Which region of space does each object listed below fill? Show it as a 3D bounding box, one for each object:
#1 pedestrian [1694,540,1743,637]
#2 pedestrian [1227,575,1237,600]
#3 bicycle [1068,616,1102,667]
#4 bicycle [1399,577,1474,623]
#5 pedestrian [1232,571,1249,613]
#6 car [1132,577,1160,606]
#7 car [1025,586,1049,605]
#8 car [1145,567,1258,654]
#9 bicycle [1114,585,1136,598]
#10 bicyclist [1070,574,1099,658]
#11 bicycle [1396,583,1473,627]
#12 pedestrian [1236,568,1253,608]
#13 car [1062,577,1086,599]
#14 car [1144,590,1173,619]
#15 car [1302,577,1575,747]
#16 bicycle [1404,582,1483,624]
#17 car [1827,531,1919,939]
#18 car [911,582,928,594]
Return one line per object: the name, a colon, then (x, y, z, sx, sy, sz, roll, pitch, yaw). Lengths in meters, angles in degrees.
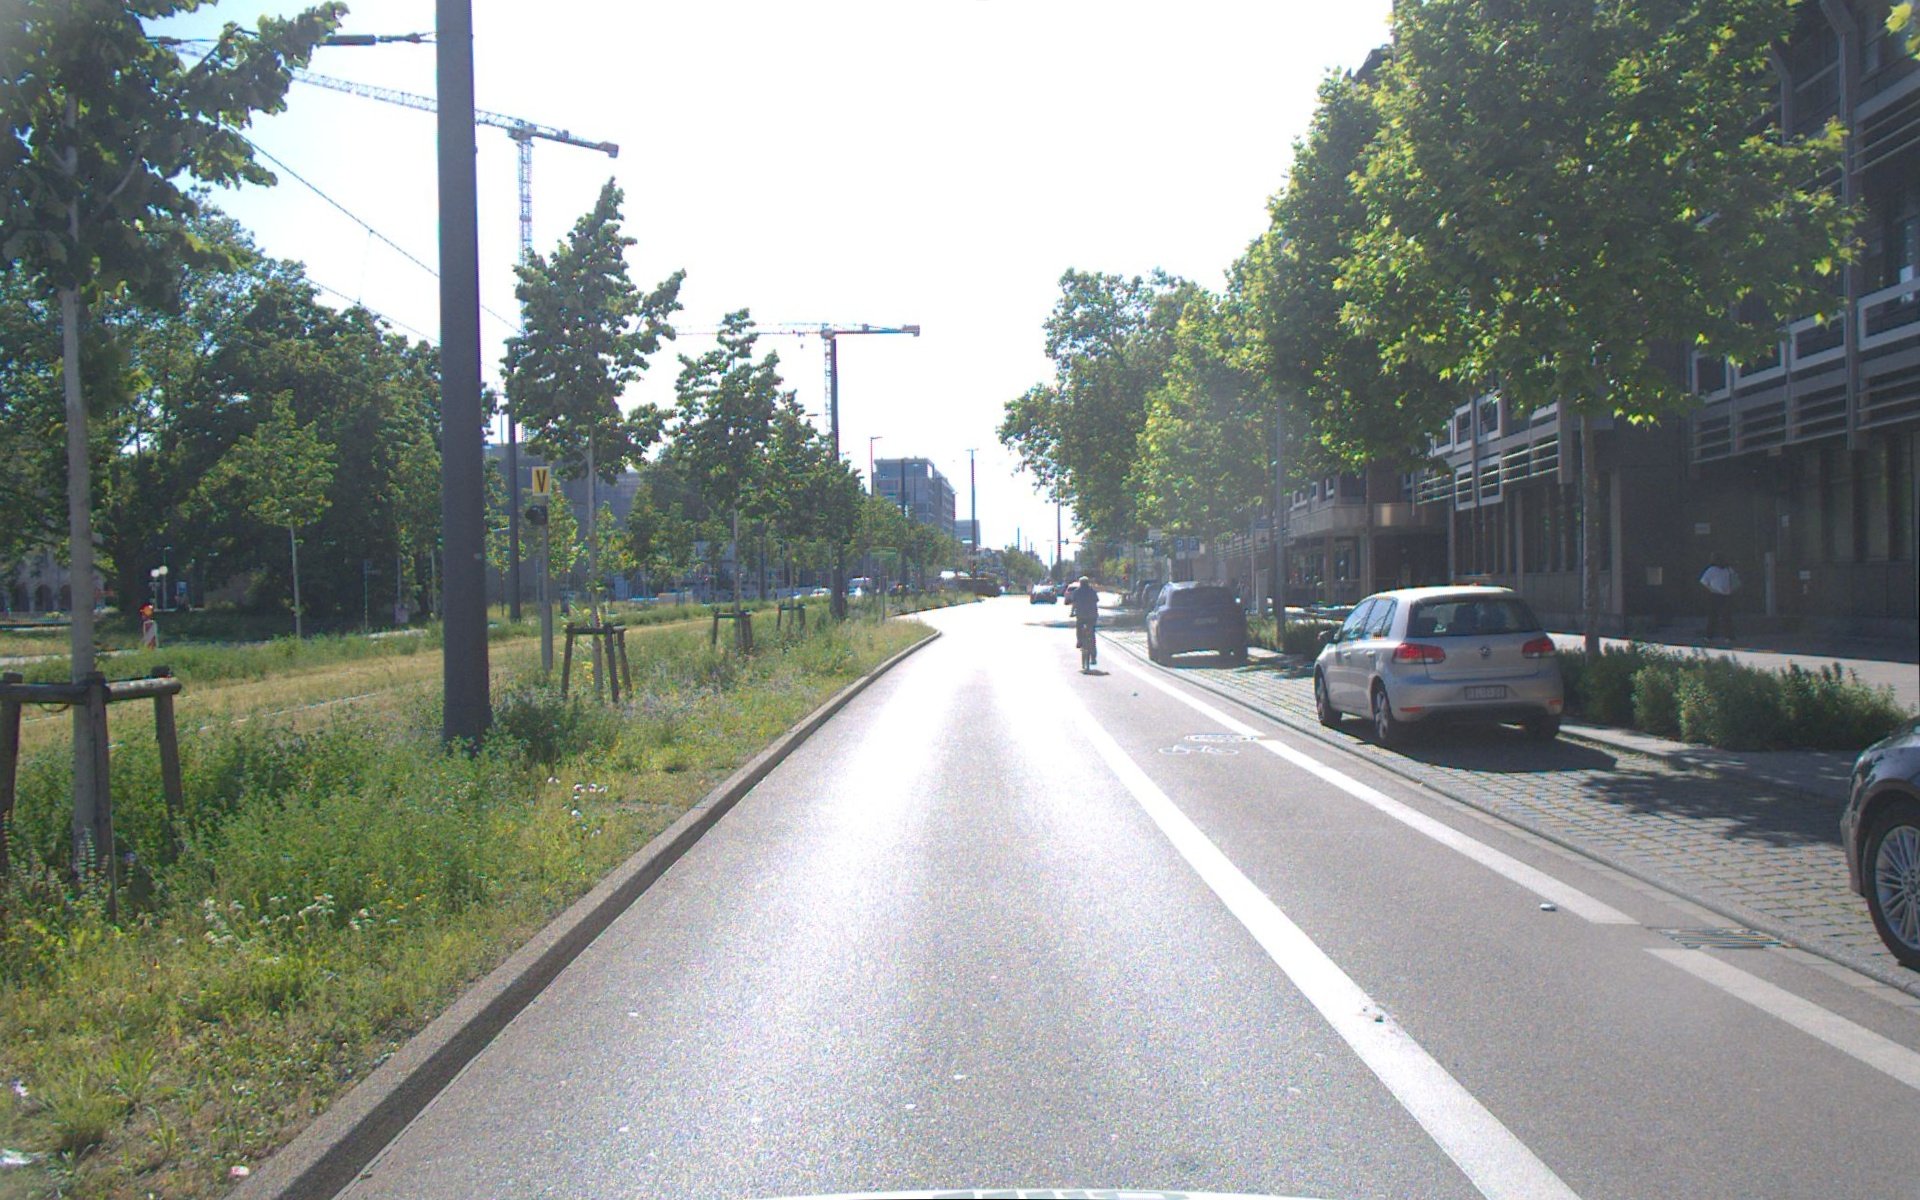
pedestrian: (13.392, -0.206, 29.214, 0.500, 1.651, 0.674, -3, 0, 4)
pedestrian: (17.567, -0.810, 106.792, 0.495, 1.612, 0.635, -1, 1, -4)
bicycle: (2.454, 0.793, 32.588, 0.487, 0.921, 2.197, 1, 0, 0)
bicycle: (12.717, -0.003, 44.137, 1.819, 1.116, 0.427, -3, 0, 5)
pedestrian: (11.844, -0.339, 69.815, 0.634, 1.758, 0.804, -1, 0, 4)
car: (12.392, -0.604, 110.352, 1.668, 1.821, 4.195, -3, 1, 5)
car: (6.370, -0.387, 135.957, 1.872, 1.512, 4.012, -1, 1, 4)
car: (5.136, 0.185, 35.809, 1.811, 1.685, 4.850, -3, 1, 2)
bicycle: (13.122, -0.648, 131.262, 1.658, 0.974, 0.478, -3, 1, 0)
bicyclist: (2.444, 0.302, 32.527, 0.502, 1.629, 0.536, -1, 0, 0)
bicycle: (12.298, 0.117, 42.895, 1.819, 1.028, 0.427, -3, 0, 5)
pedestrian: (10.977, -0.469, 63.733, 0.500, 1.500, 0.736, -3, 0, 4)
car: (9.114, -0.982, 132.020, 1.685, 1.646, 4.189, -1, 1, 6)
car: (11.910, 0.251, 99.571, 1.668, 1.671, 4.640, -1, 1, 6)
car: (4.843, 0.548, 17.339, 1.585, 1.490, 4.155, -3, 1, 0)
bicycle: (12.122, 0.076, 41.493, 1.819, 0.955, 0.427, -3, 0, 5)
car: (4.856, 0.555, 5.275, 1.712, 1.688, 4.468, -1, 1, -2)
car: (-4.103, -1.244, 168.079, 1.347, 1.199, 3.222, 1, 0, 4)
